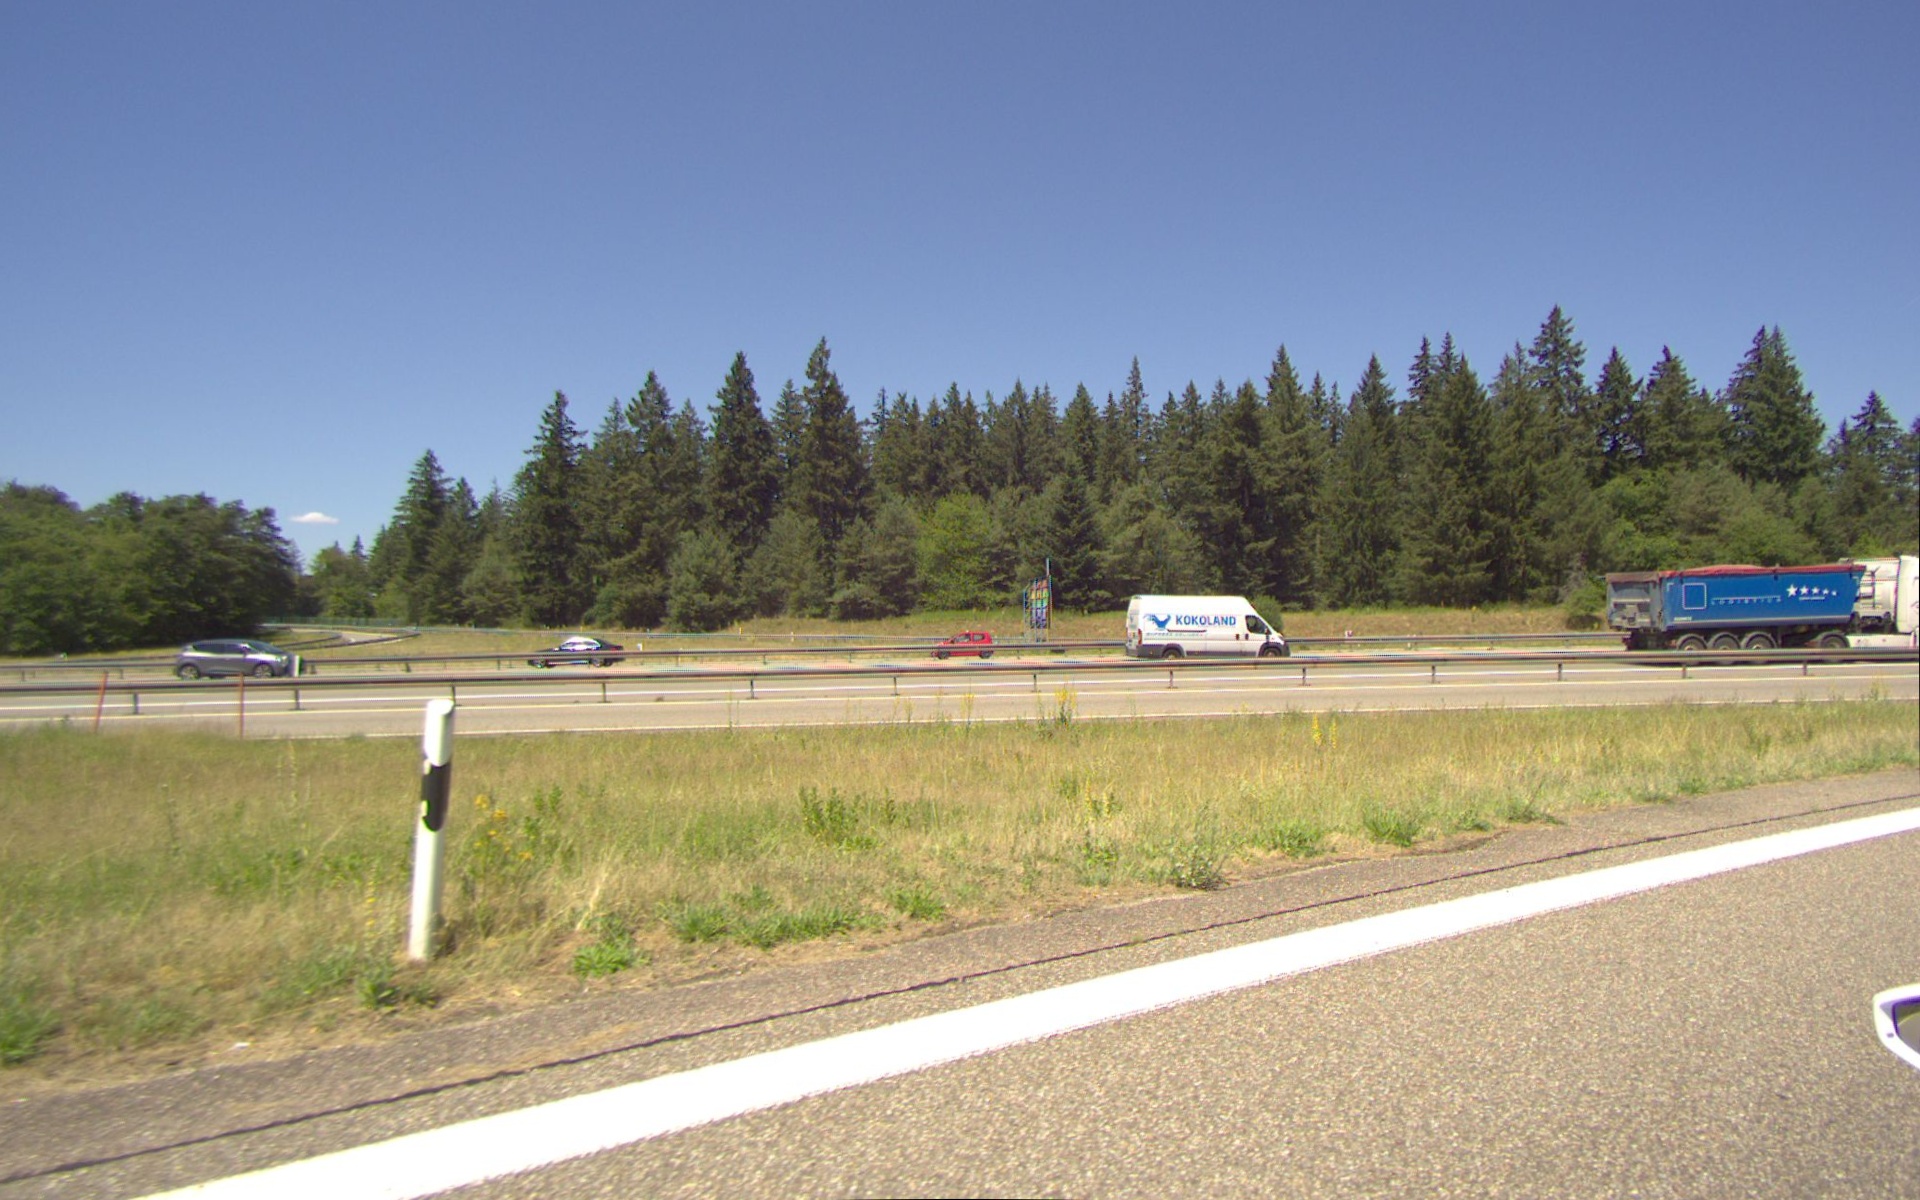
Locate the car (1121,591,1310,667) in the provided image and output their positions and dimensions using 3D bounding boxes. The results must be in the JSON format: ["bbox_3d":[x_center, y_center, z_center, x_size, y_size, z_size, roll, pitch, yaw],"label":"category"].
[{"bbox_3d":[10.033,1.149,39.739,6.920,2.870,2.244,1,-1,-5],"label":"car"}]

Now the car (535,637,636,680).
[{"bbox_3d":[-18.581,2.887,50.010,4.275,1.873,1.999,-2,-1,-5],"label":"car"}]

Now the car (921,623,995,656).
[{"bbox_3d":[-0.147,2.192,55.472,3.925,1.750,1.966,0,-3,-6],"label":"car"}]

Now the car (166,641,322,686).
[{"bbox_3d":[-28.248,2.501,39.731,4.734,1.706,1.776,1,-1,-6],"label":"car"}]

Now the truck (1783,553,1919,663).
[{"bbox_3d":[33.943,0.286,37.331,4.534,3.858,2.763,-1,0,-6],"label":"truck"}]

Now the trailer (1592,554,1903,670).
[{"bbox_3d":[28.727,0.402,36.801,9.698,3.858,2.778,-1,-1,-6],"label":"trailer"}]
